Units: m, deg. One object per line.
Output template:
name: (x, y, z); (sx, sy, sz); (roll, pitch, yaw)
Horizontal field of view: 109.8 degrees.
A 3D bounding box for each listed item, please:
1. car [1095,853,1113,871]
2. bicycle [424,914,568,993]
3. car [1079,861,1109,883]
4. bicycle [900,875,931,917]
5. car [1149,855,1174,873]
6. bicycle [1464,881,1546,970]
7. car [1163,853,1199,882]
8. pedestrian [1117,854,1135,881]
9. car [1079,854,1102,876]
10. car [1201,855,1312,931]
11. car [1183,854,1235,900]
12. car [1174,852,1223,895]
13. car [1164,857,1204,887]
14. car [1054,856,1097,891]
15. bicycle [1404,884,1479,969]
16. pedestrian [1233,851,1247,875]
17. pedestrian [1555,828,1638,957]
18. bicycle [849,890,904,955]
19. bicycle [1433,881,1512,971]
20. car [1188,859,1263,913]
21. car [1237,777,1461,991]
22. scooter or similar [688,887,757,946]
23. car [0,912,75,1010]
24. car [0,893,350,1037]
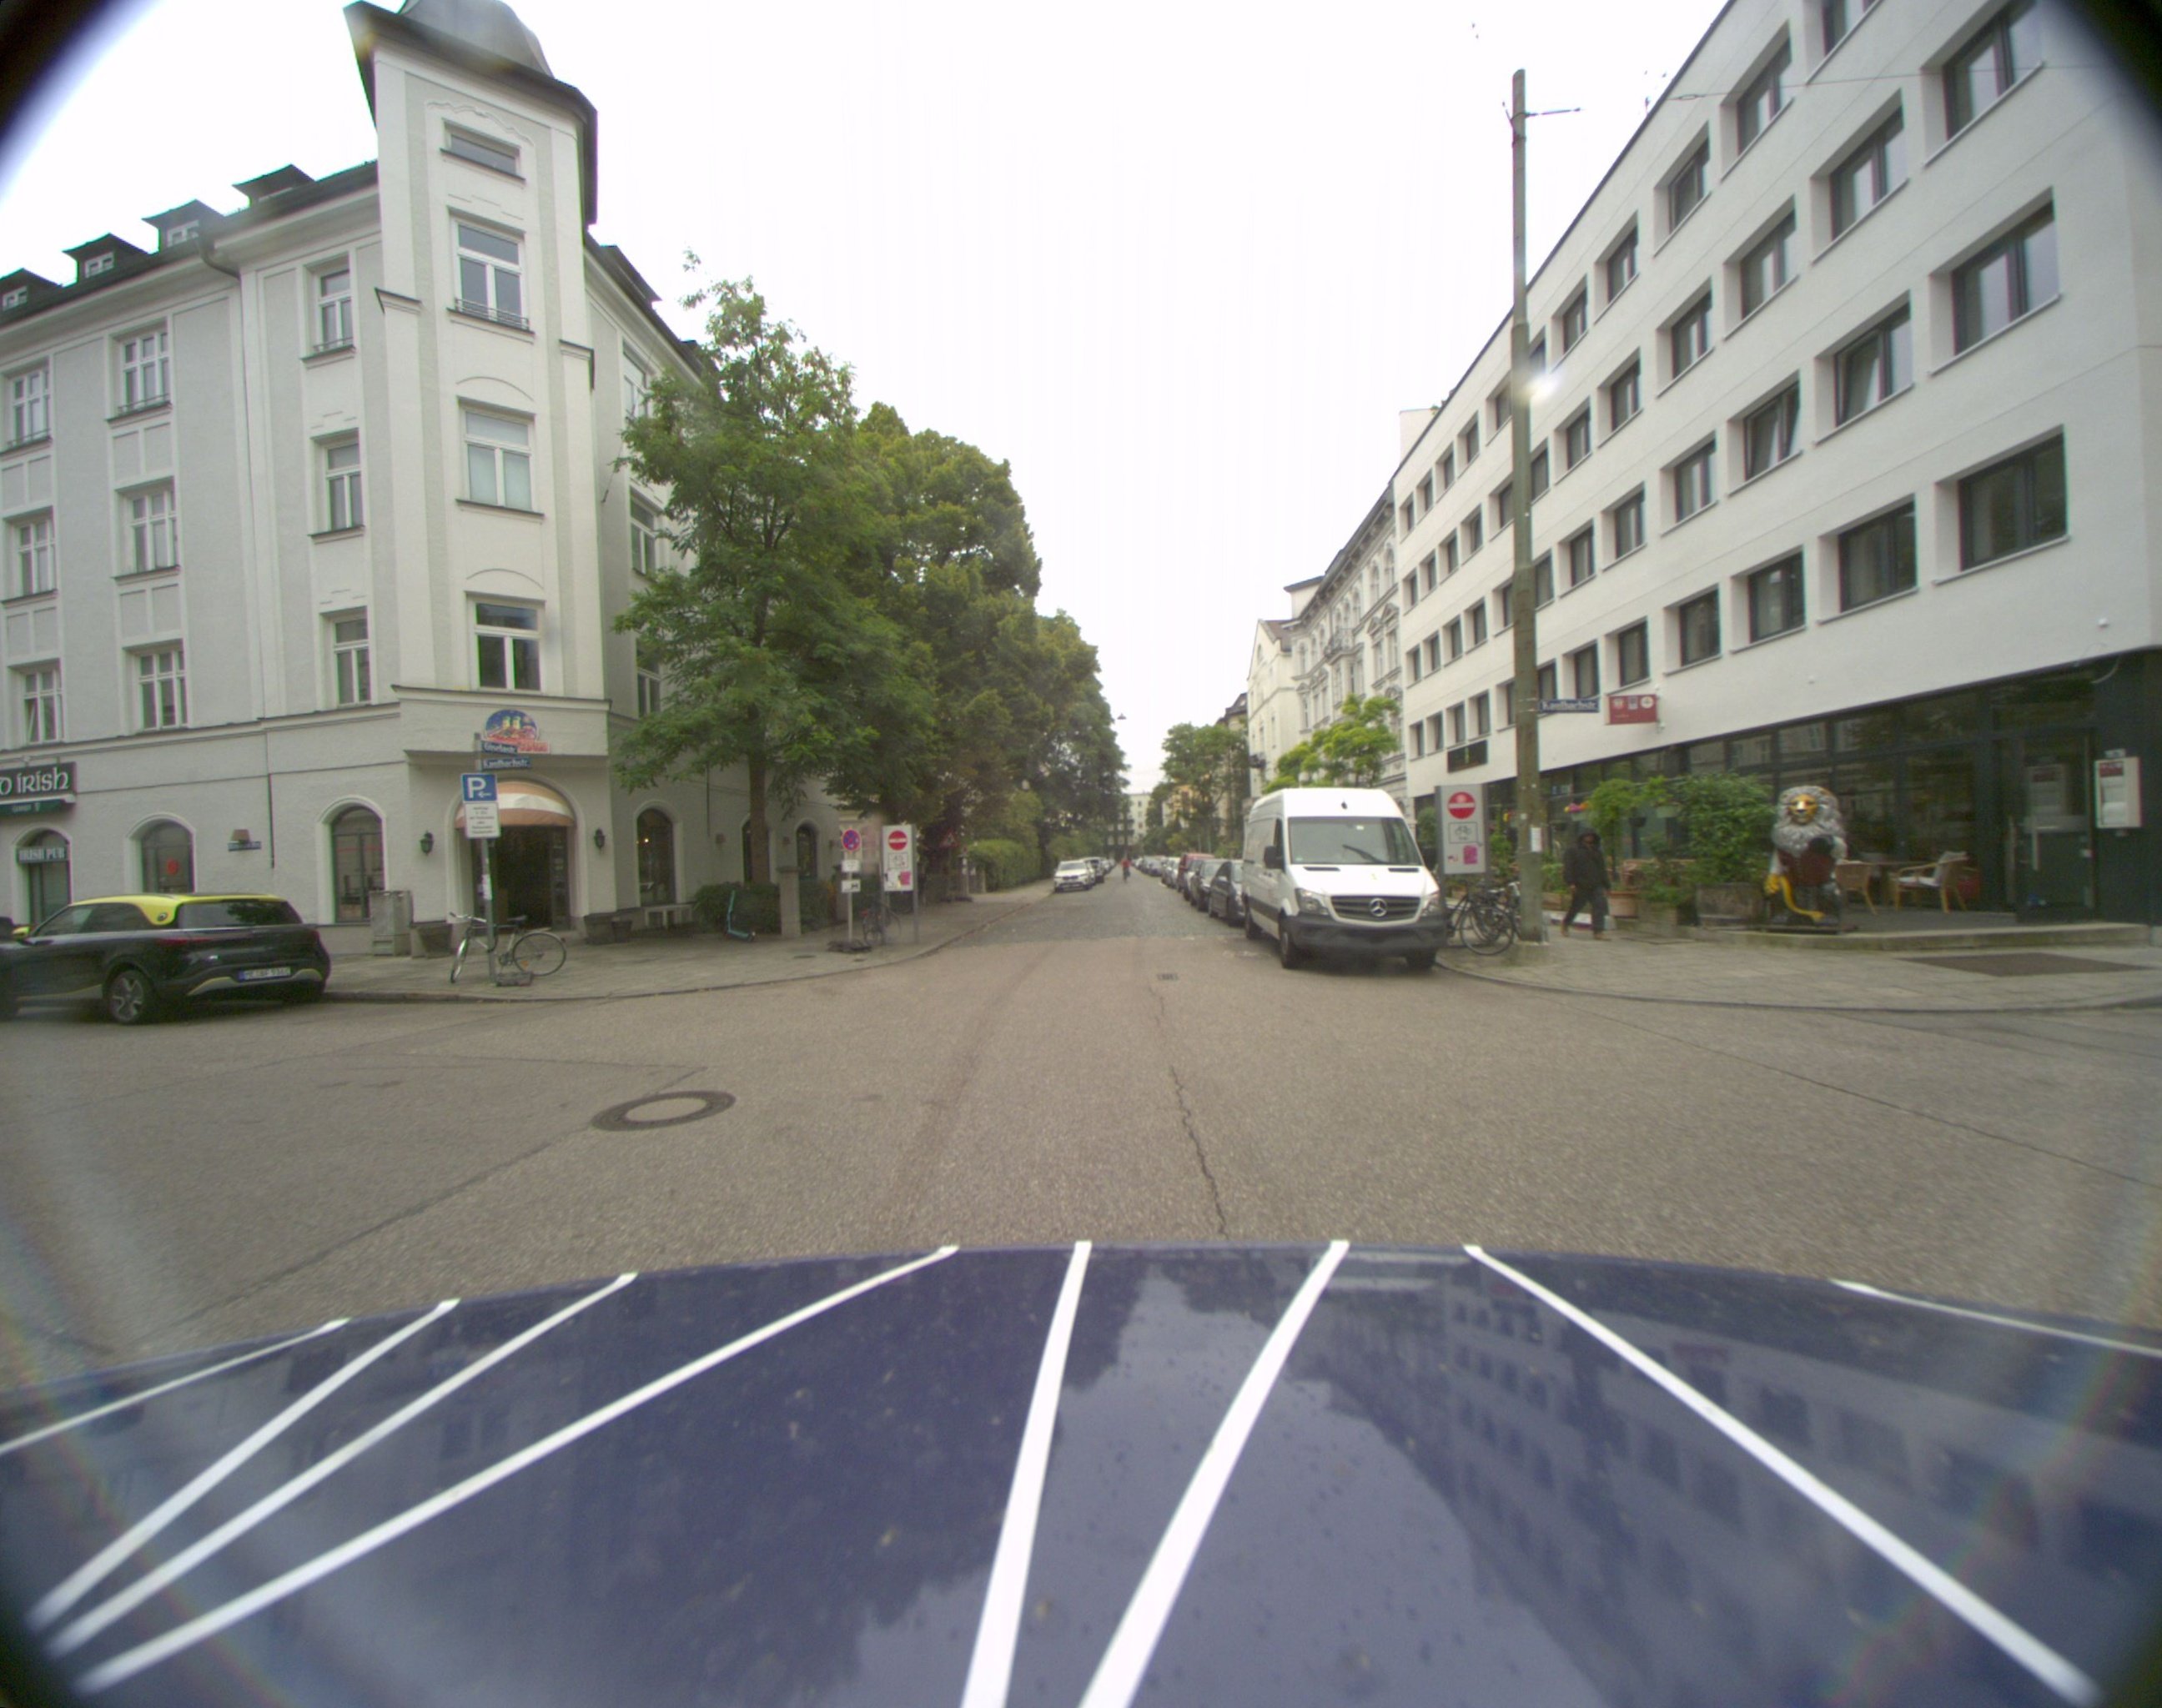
car: (2.843, 0.983, 93.770); (1.998, 2.002, 4.001); (-2, 0, 4)
bicycle: (-8.838, 1.487, 11.516); (1.604, 1.063, 0.739); (0, 4, 6)
car: (0.913, 1.243, 53.646); (1.924, 1.290, 4.809); (-2, 0, 1)
bicycle: (-5.235, 1.303, 24.065); (0.428, 1.191, 1.731); (3, 1, 4)
car: (7.139, 0.864, 67.556); (1.885, 1.411, 4.810); (-2, 0, 3)
bicycle: (6.097, 0.989, 11.017); (0.256, 1.120, 1.731); (-2, 0, 3)
car: (5.872, 0.770, 45.028); (1.693, 1.563, 4.068); (-2, 0, 2)
pedestrian: (3.073, 0.898, 51.469); (1.105, 1.768, 1.263); (-2, 1, 4)
car: (0.876, 0.919, 67.120); (1.818, 1.809, 4.809); (-2, 0, 2)
car: (3.935, 0.802, 17.658); (1.665, 1.474, 3.982); (-2, 0, 1)
car: (4.660, 0.812, 28.079); (1.696, 1.495, 3.779); (-2, 0, 7)
car: (5.125, 0.806, 33.497); (1.721, 1.713, 3.899); (-1, 0, 3)
car: (5.340, 0.897, 39.759); (1.635, 1.386, 3.816); (-2, 0, 2)
car: (-0.241, 0.992, 41.676); (1.925, 1.676, 4.634); (-2, 1, 4)
bicycle: (5.313, 1.030, 11.298); (0.286, 1.085, 1.816); (-2, 0, 2)
pedestrian: (10.670, 0.596, 51.005); (0.665, 1.618, 0.670); (-2, 1, 35)
pedestrian: (7.654, 0.554, 11.317); (0.615, 1.829, 0.813); (-2, 1, -3)
bicycle: (-4.048, 1.330, 15.135); (0.389, 1.140, 1.590); (-2, 1, 10)
bicycle: (5.644, 1.001, 11.058); (0.256, 1.120, 1.807); (-2, 0, 3)
car: (4.295, 0.894, 23.116); (1.729, 1.456, 4.474); (0, 0, 4)
car: (3.819, 0.349, 12.072); (1.981, 2.559, 5.796); (0, 0, 5)
scooter or similar: (-7.696, 1.323, 16.280); (1.603, 1.166, 0.405); (0, 2, 27)
car: (-18.110, 1.721, 11.817); (3.534, 1.417, 1.702); (-2, 0, 15)
car: (-12.693, 1.448, 10.405); (4.081, 1.588, 1.907); (-2, 0, 14)
